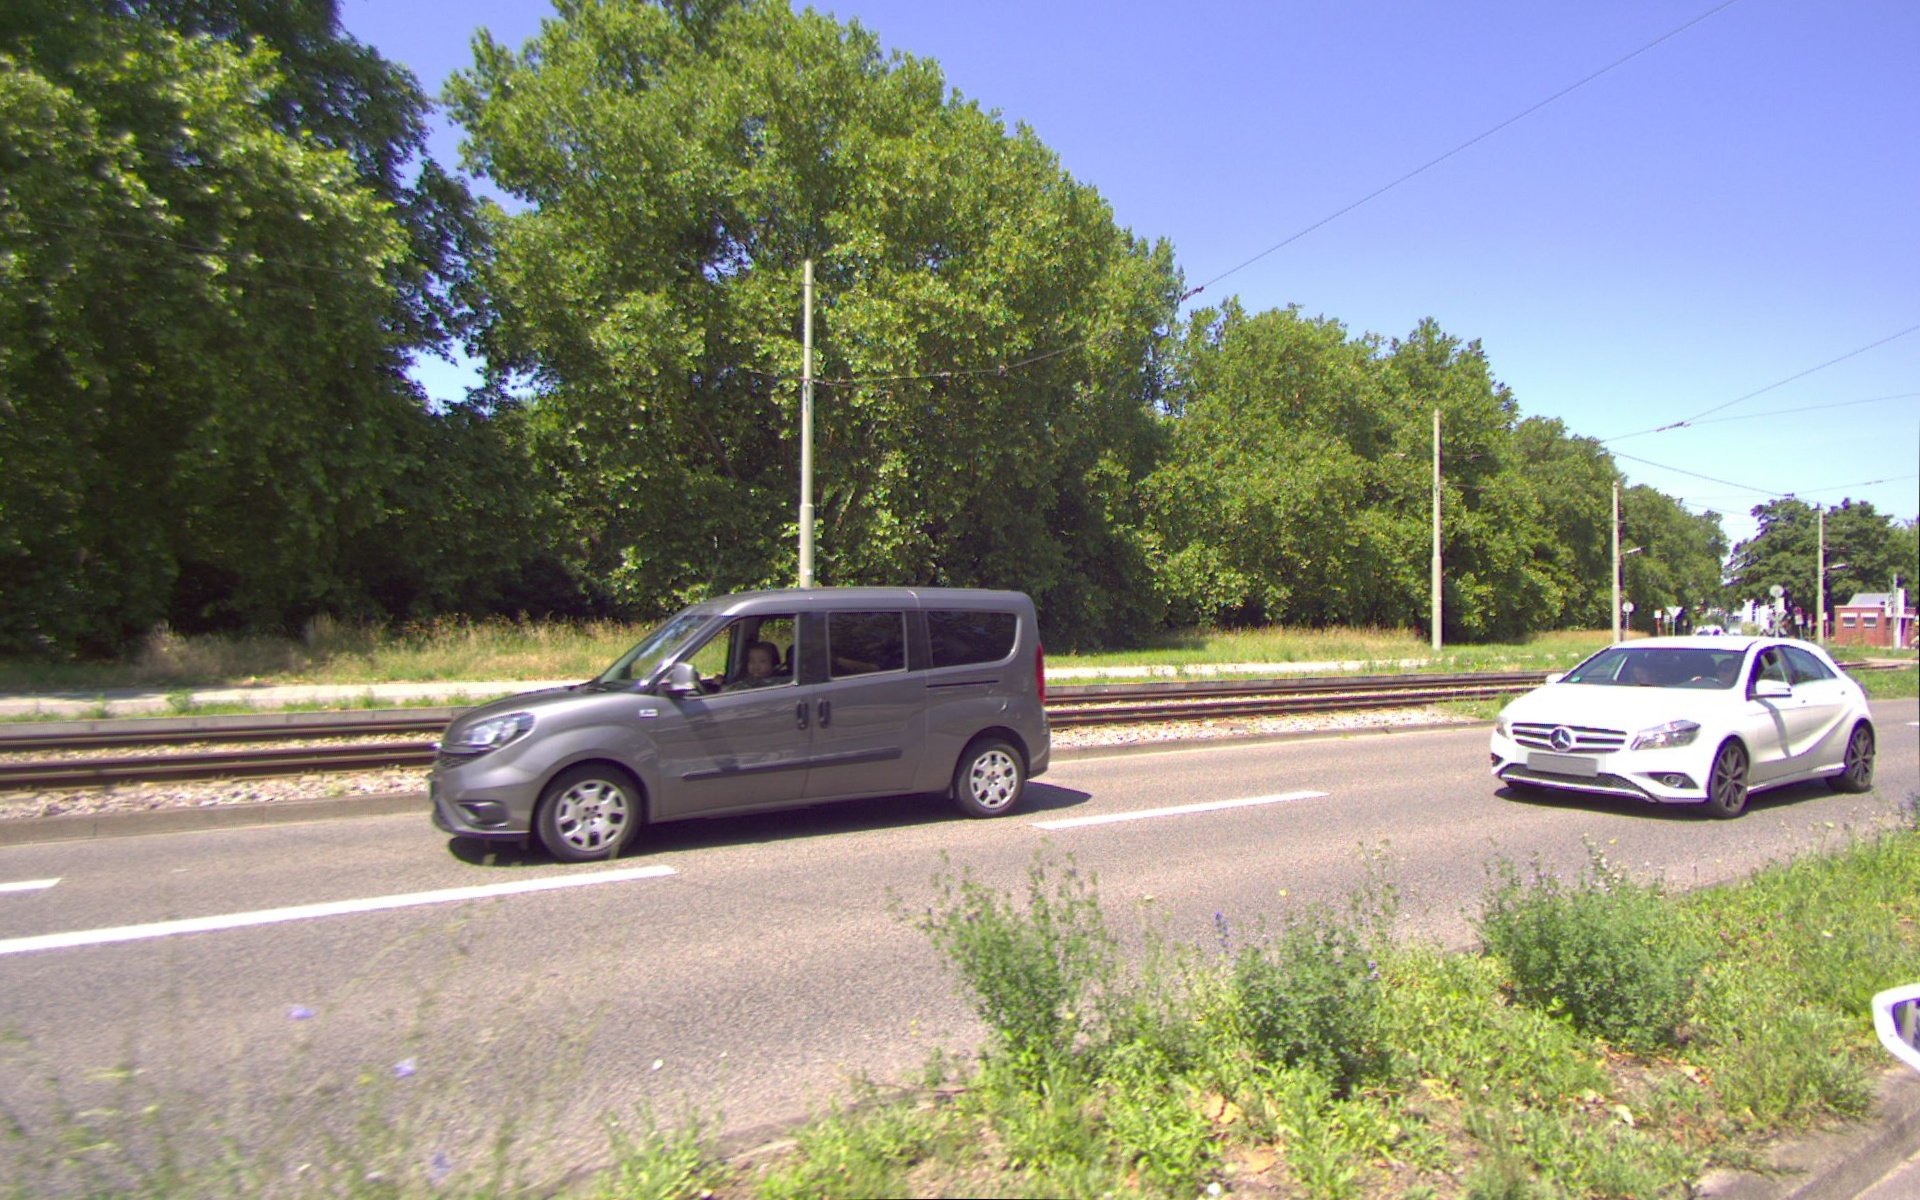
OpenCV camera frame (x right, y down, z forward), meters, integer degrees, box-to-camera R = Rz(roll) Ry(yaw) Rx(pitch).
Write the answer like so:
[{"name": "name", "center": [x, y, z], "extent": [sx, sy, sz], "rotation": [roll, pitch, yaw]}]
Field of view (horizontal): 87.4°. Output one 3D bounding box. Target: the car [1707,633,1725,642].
[{"name": "car", "center": [124.899, 6.200, 165.922], "extent": [1.971, 1.486, 3.979], "rotation": [0, -1, 42]}]

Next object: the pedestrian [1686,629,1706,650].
[{"name": "pedestrian", "center": [61.418, 3.308, 83.816], "extent": [1.245, 1.724, 0.518], "rotation": [1, -1, 12]}]

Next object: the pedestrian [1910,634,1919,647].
[{"name": "pedestrian", "center": [76.374, 3.207, 80.298], "extent": [0.516, 1.032, 0.479], "rotation": [1, -1, -32]}]

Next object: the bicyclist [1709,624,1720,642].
[{"name": "bicyclist", "center": [57.882, 2.543, 77.085], "extent": [0.675, 1.353, 0.504], "rotation": [1, -1, -39]}]

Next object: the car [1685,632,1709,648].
[{"name": "car", "center": [75.201, 4.067, 102.564], "extent": [1.968, 1.486, 3.986], "rotation": [0, -1, 36]}]

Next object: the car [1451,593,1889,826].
[{"name": "car", "center": [6.682, 0.899, 9.398], "extent": [3.989, 1.761, 1.822], "rotation": [1, -3, -30]}]

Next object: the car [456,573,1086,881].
[{"name": "car", "center": [-1.366, 0.831, 7.947], "extent": [4.562, 1.825, 1.821], "rotation": [1, -3, -31]}]

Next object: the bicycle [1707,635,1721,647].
[{"name": "bicycle", "center": [57.933, 3.150, 77.156], "extent": [1.553, 0.913, 0.504], "rotation": [2, -1, -40]}]
